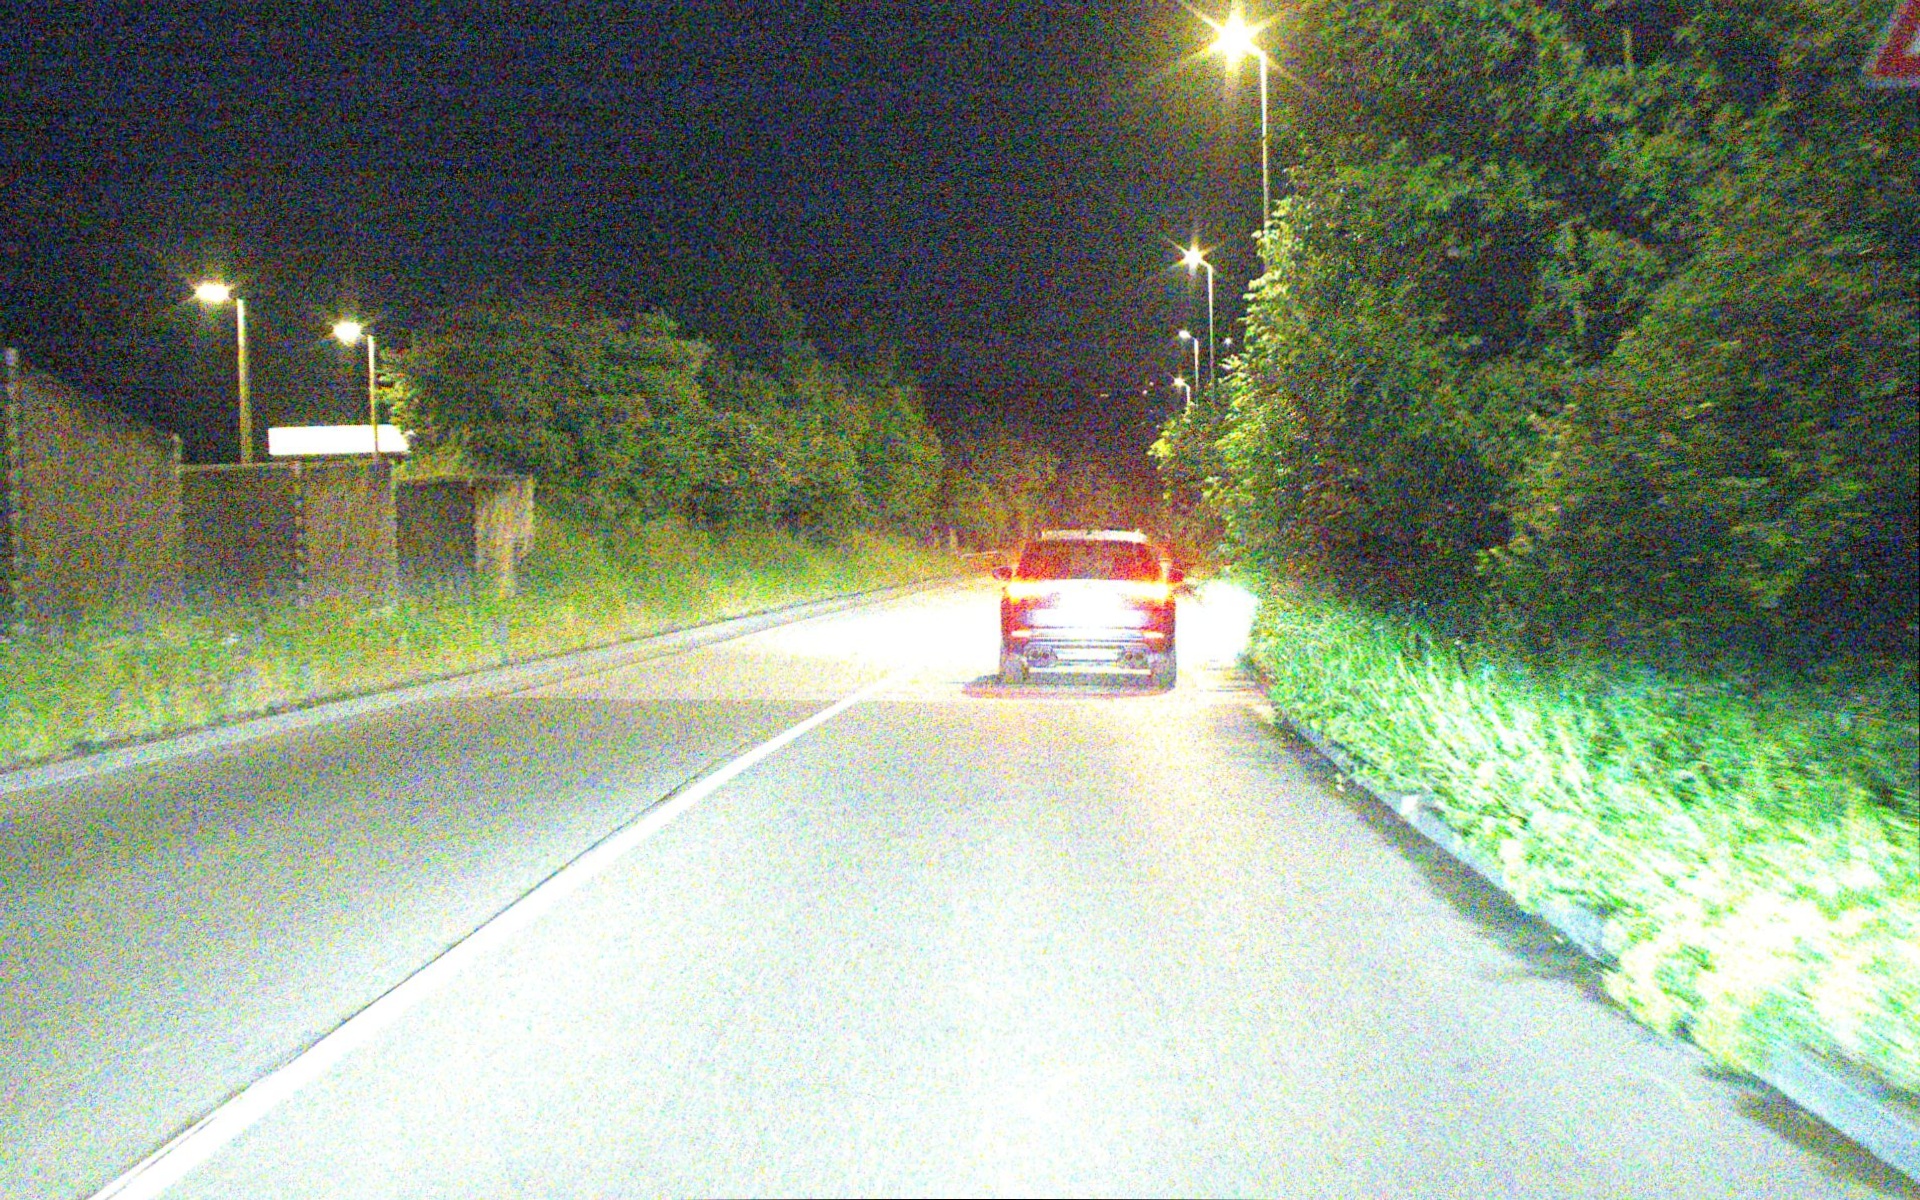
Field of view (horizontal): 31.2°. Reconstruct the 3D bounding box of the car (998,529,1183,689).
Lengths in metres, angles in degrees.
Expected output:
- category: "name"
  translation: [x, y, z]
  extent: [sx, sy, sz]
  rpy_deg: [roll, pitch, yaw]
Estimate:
- category: "car"
  translation: [1.392, 0.054, 36.031]
  extent: [1.815, 1.568, 3.943]
  rpy_deg: [0, 1, 3]
